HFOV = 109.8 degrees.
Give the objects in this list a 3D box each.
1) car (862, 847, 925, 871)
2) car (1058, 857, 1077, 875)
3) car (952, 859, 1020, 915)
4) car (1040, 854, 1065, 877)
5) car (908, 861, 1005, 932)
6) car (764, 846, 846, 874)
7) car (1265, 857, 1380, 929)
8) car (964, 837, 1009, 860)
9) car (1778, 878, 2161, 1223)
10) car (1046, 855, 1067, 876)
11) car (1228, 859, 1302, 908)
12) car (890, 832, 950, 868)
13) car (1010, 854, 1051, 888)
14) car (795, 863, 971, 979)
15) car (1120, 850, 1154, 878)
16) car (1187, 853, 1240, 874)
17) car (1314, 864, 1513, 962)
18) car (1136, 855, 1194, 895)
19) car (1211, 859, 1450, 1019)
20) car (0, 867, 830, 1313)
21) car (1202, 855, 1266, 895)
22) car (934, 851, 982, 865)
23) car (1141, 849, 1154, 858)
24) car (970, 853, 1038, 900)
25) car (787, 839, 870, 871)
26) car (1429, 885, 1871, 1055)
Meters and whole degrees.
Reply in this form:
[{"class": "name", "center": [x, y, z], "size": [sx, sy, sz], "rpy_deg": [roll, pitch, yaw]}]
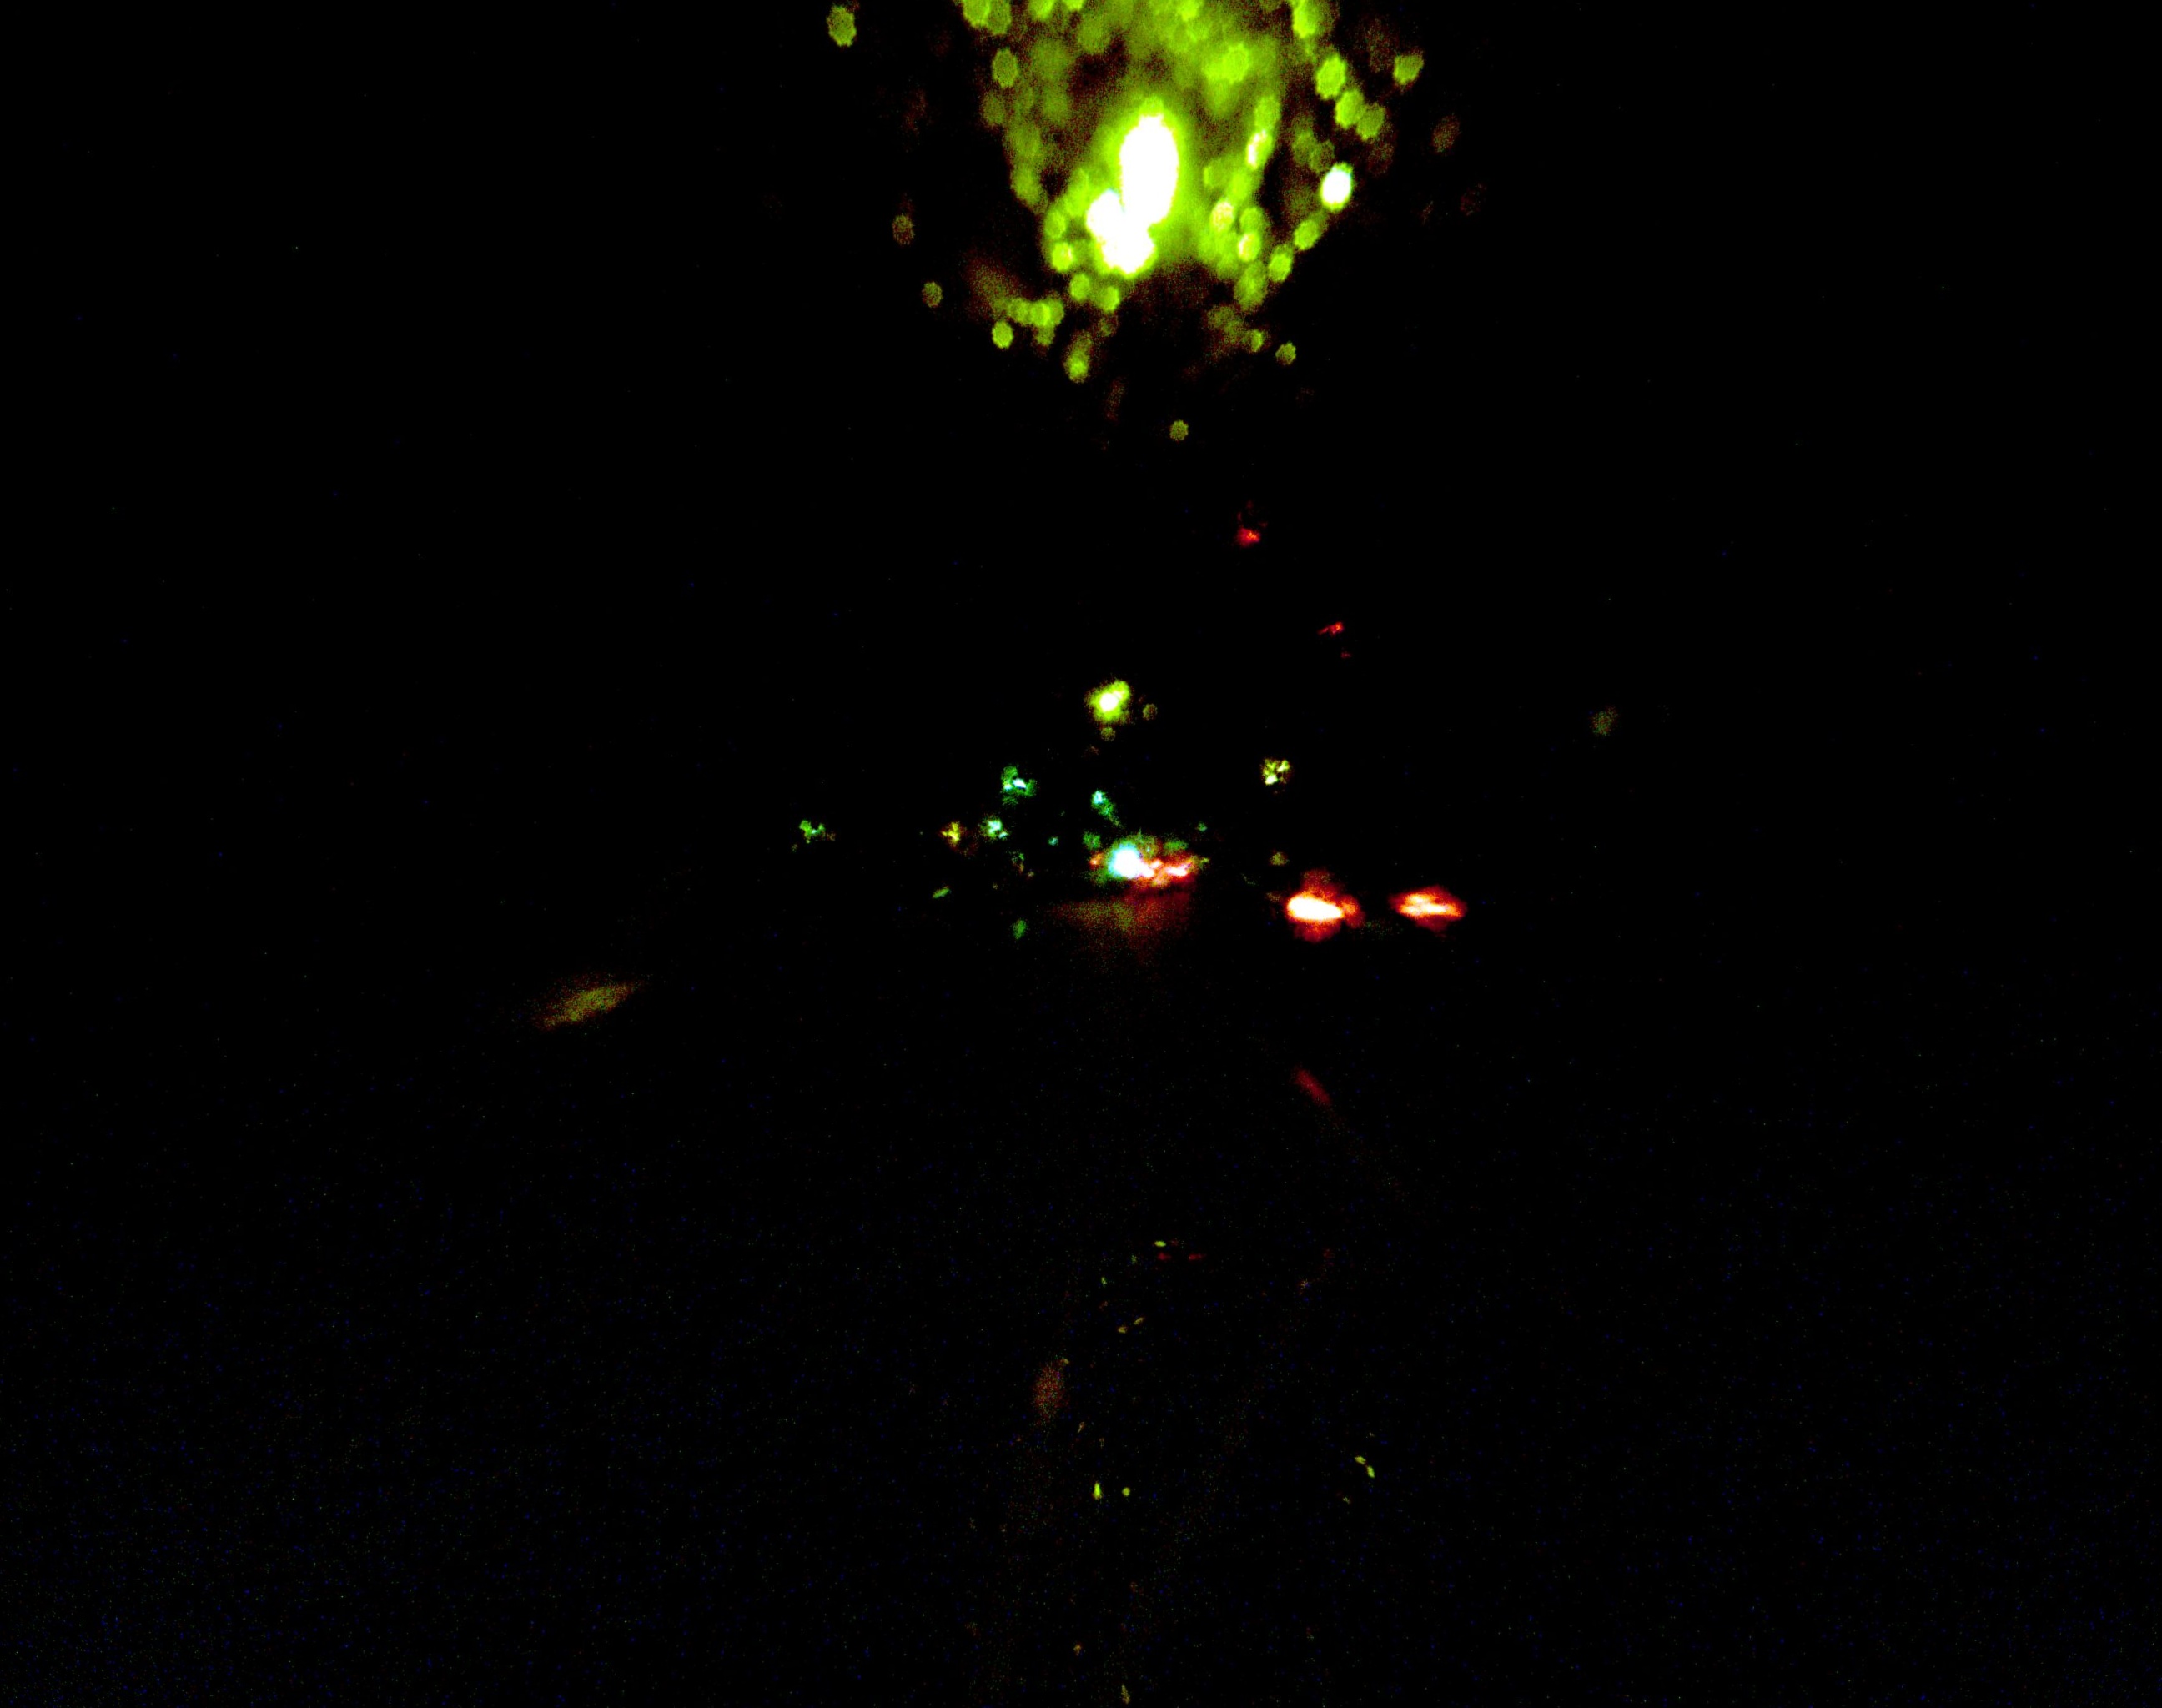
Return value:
[{"class": "car", "center": [-12.419, 0.336, 50.435], "size": [3.663, 1.448, 1.666], "rpy_deg": [2, 0, 1]}, {"class": "car", "center": [-1.248, 1.116, 70.419], "size": [1.695, 1.581, 3.765], "rpy_deg": [2, 0, -1]}, {"class": "car", "center": [-2.727, 0.909, 22.498], "size": [1.608, 1.464, 3.951], "rpy_deg": [2, 0, -2]}, {"class": "car", "center": [-2.074, 0.797, 55.373], "size": [1.695, 1.581, 3.765], "rpy_deg": [2, 0, -2]}, {"class": "car", "center": [-2.847, 0.919, 18.133], "size": [1.608, 1.464, 3.952], "rpy_deg": [2, 0, 0]}, {"class": "car", "center": [-14.603, 0.312, 40.335], "size": [3.663, 1.333, 1.666], "rpy_deg": [2, 0, 1]}, {"class": "car", "center": [6.061, 0.899, 19.539], "size": [1.628, 1.564, 3.963], "rpy_deg": [3, 0, 0]}, {"class": "car", "center": [-9.412, -0.572, 75.568], "size": [4.022, 2.156, 1.803], "rpy_deg": [2, 0, 7]}, {"class": "car", "center": [5.806, 0.956, 3.382], "size": [1.710, 1.530, 4.060], "rpy_deg": [3, 0, 2]}, {"class": "car", "center": [-1.959, 0.879, 60.805], "size": [1.649, 1.581, 3.445], "rpy_deg": [2, 0, -2]}, {"class": "car", "center": [6.071, 0.923, 25.494], "size": [1.627, 1.464, 3.964], "rpy_deg": [2, 0, 2]}, {"class": "car", "center": [-12.279, -0.262, 57.924], "size": [4.022, 2.603, 1.803], "rpy_deg": [2, 0, 7]}, {"class": "car", "center": [-2.507, 0.820, 38.325], "size": [1.896, 1.581, 3.835], "rpy_deg": [2, 0, -2]}, {"class": "car", "center": [-2.871, 0.900, 11.891], "size": [1.800, 1.464, 3.951], "rpy_deg": [2, 0, -2]}, {"class": "car", "center": [3.353, 0.586, 46.111], "size": [1.890, 1.588, 4.549], "rpy_deg": [2, 0, 2]}, {"class": "car", "center": [11.939, 0.849, 68.448], "size": [4.539, 1.695, 1.853], "rpy_deg": [1, 0, 15]}, {"class": "car", "center": [5.890, 0.958, 14.112], "size": [1.799, 1.464, 4.396], "rpy_deg": [2, 0, 1]}, {"class": "car", "center": [3.392, 0.839, 31.575], "size": [2.044, 1.539, 4.683], "rpy_deg": [0, 0, 2]}, {"class": "car", "center": [2.838, 0.855, 9.700], "size": [1.710, 1.530, 4.371], "rpy_deg": [2, 0, 2]}, {"class": "car", "center": [-3.071, 0.895, 4.715], "size": [1.800, 1.538, 3.951], "rpy_deg": [2, 0, -2]}, {"class": "car", "center": [6.205, 0.819, 31.328], "size": [1.628, 1.464, 4.548], "rpy_deg": [2, 0, -1]}, {"class": "car", "center": [-11.411, 0.379, 70.731], "size": [4.022, 1.261, 1.803], "rpy_deg": [2, 0, 7]}, {"class": "car", "center": [11.106, -0.025, 126.748], "size": [1.849, 1.440, 4.549], "rpy_deg": [2, 0, 2]}, {"class": "car", "center": [-2.739, 0.781, 27.930], "size": [1.799, 1.538, 4.786], "rpy_deg": [2, 0, 2]}, {"class": "car", "center": [-14.249, 0.056, 42.943], "size": [4.089, 1.696, 1.667], "rpy_deg": [2, 0, 4]}, {"class": "car", "center": [5.977, 1.099, 8.893], "size": [1.842, 1.260, 4.639], "rpy_deg": [2, 0, 3]}]
